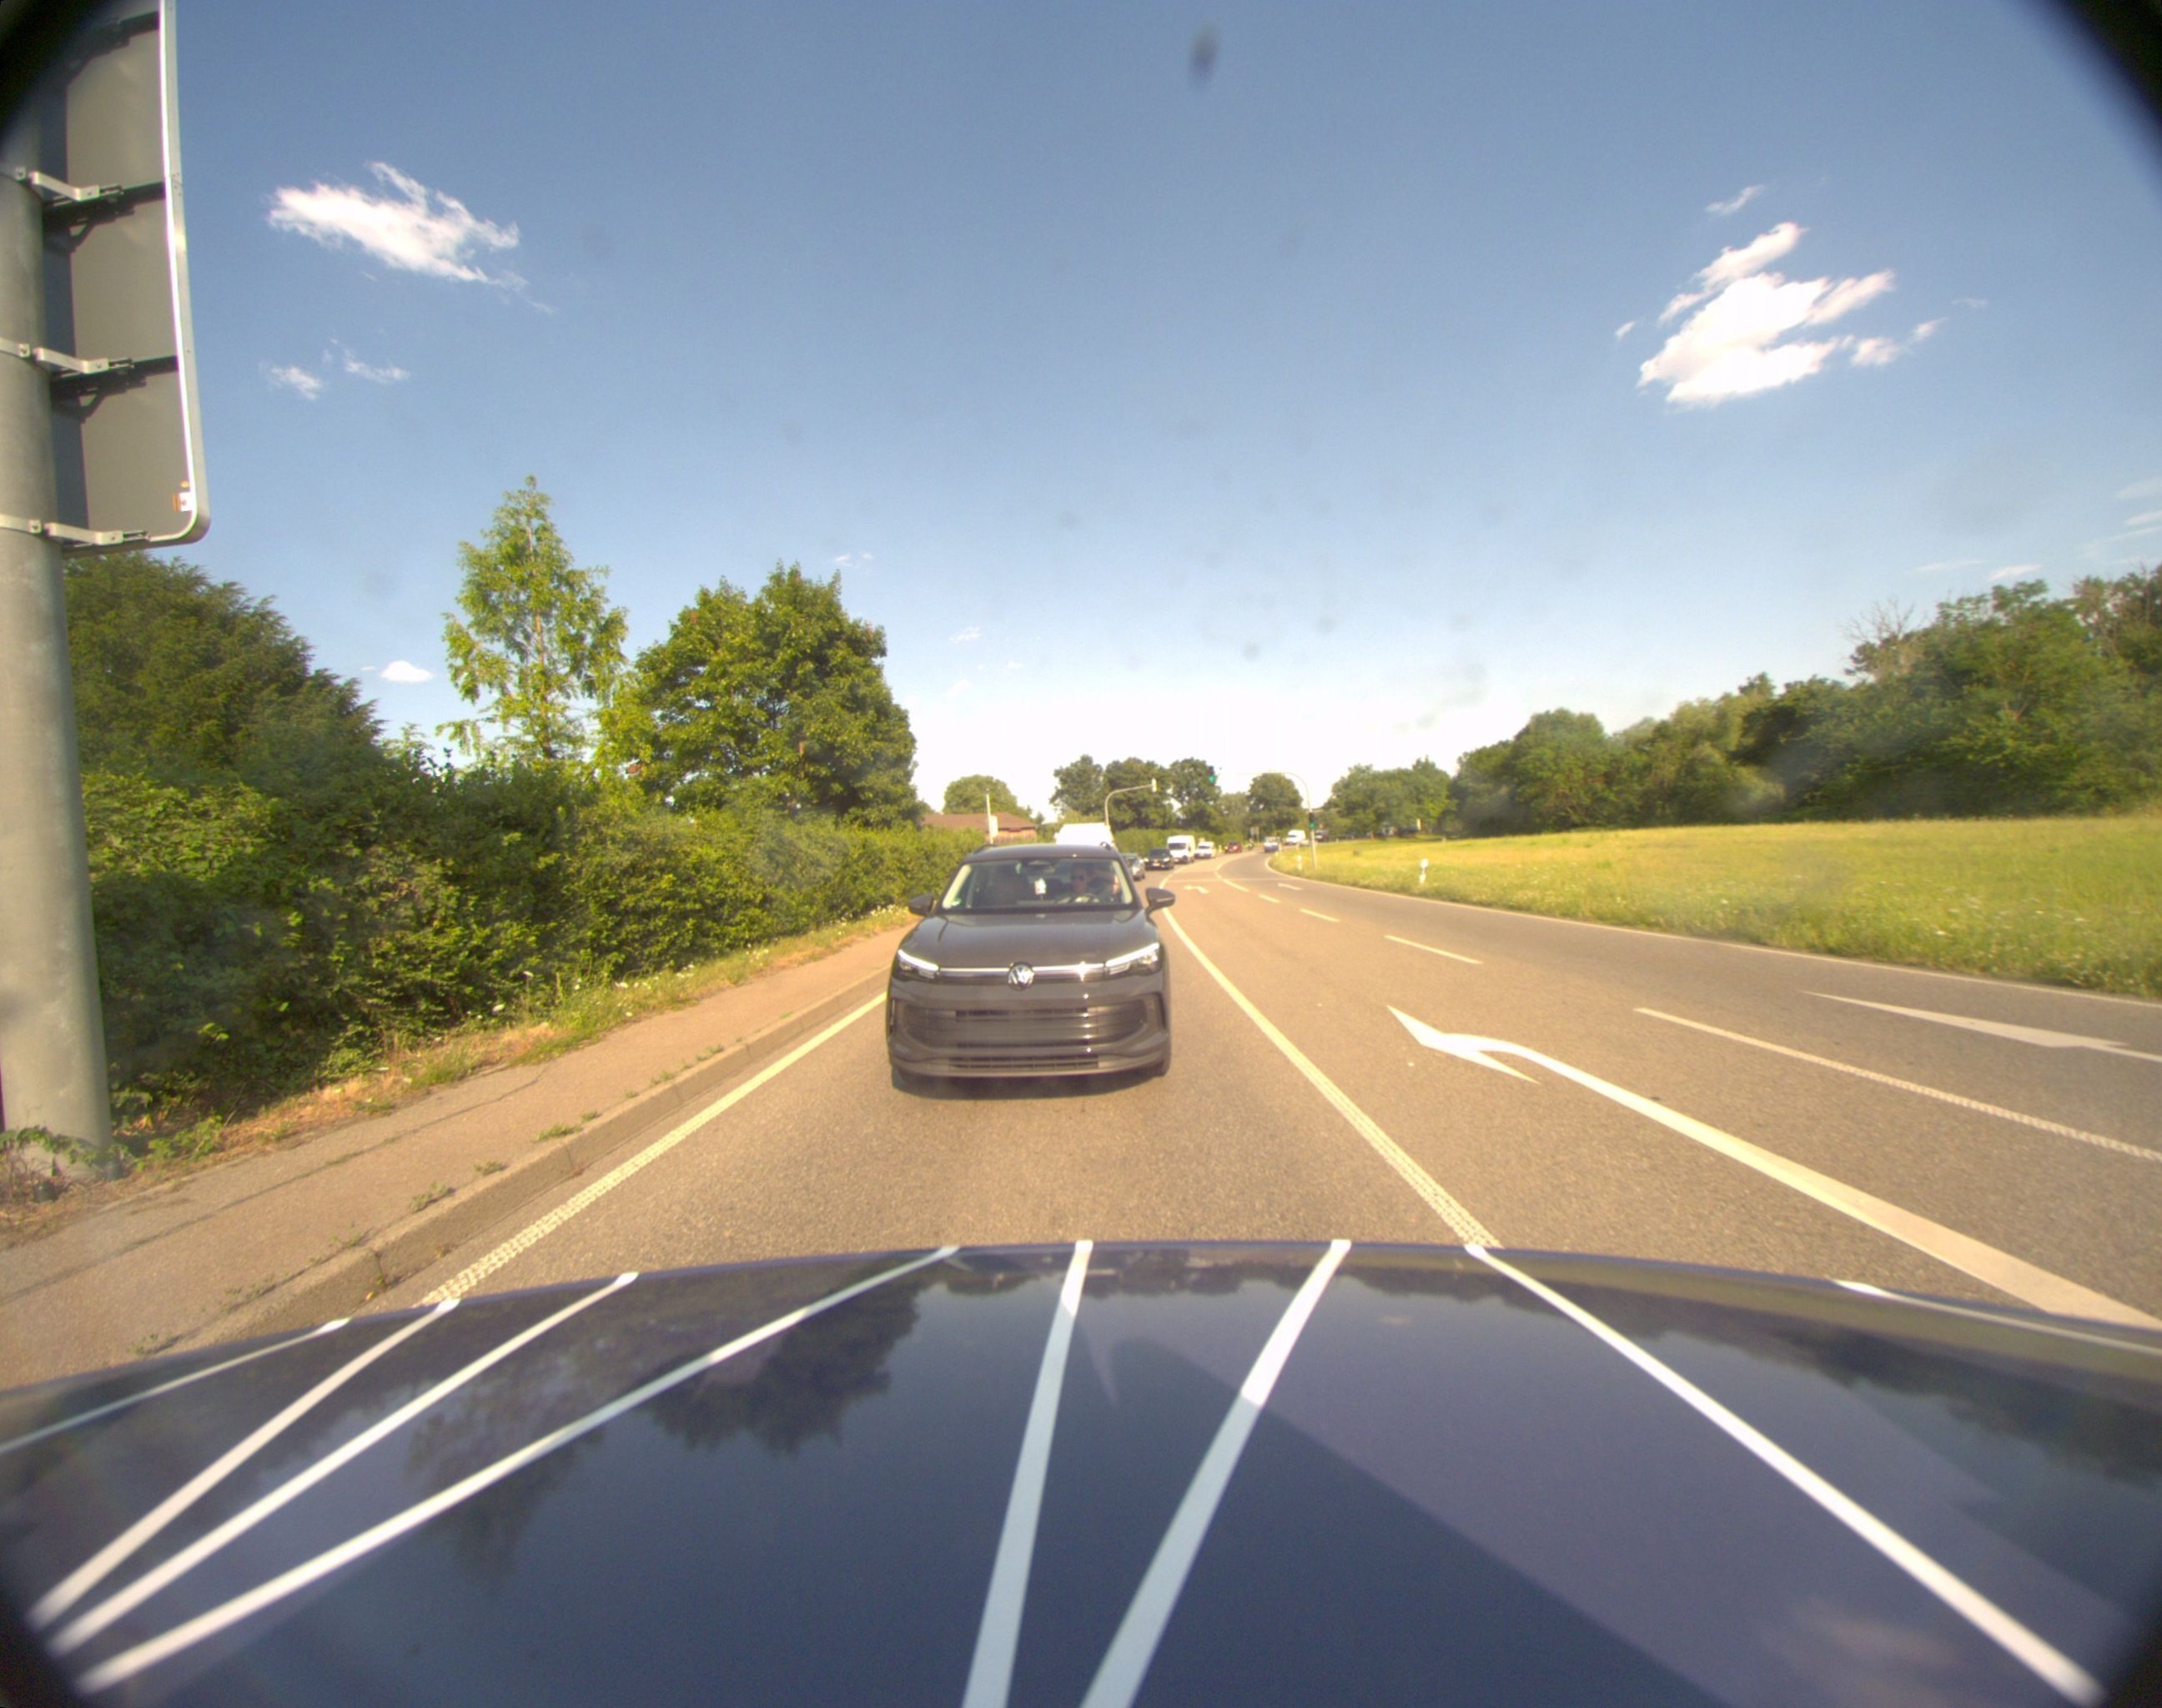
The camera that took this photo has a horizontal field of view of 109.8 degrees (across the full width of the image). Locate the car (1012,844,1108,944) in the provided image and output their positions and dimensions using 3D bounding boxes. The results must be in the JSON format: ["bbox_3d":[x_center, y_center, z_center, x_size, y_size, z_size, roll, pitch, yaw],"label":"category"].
[{"bbox_3d":[-0.303,0.690,15.196,1.659,1.720,3.804,-1,1,2],"label":"car"}]

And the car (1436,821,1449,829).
[{"bbox_3d":[96.527,-7.716,202.801,4.344,1.871,1.725,-1,1,-44],"label":"car"}]

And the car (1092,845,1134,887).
[{"bbox_3d":[1.490,0.481,34.409,1.673,1.718,3.668,0,2,6],"label":"car"}]

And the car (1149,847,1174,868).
[{"bbox_3d":[5.922,0.230,55.595,1.606,1.471,3.619,0,1,10],"label":"car"}]

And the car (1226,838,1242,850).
[{"bbox_3d":[21.656,-1.435,107.381,1.671,1.471,3.498,-4,0,21],"label":"car"}]

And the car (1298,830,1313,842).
[{"bbox_3d":[39.330,-3.172,132.955,1.783,2.002,3.851,-4,1,27],"label":"car"}]

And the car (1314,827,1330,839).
[{"bbox_3d":[51.208,-4.420,161.430,1.995,2.373,4.944,-4,1,29],"label":"car"}]

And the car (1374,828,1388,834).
[{"bbox_3d":[70.665,-5.417,178.858,3.614,1.458,1.586,-1,1,-40],"label":"car"}]

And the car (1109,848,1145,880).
[{"bbox_3d":[2.444,0.492,39.848,1.634,1.549,3.419,-1,0,7],"label":"car"}]

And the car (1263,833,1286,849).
[{"bbox_3d":[26.390,-1.788,103.460,2.000,2.124,4.786,-2,0,25],"label":"car"}]

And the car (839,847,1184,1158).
[{"bbox_3d":[-0.363,0.808,6.195,1.866,1.633,3.999,-1,2,0],"label":"car"}]

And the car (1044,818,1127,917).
[{"bbox_3d":[0.249,0.318,20.697,1.844,2.338,4.791,-1,0,5],"label":"car"}]

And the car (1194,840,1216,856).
[{"bbox_3d":[13.672,-0.673,83.512,1.671,1.471,3.498,-4,0,21],"label":"car"}]

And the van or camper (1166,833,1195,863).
[{"bbox_3d":[9.183,-0.585,69.914,2.032,2.461,5.081,-4,0,13],"label":"van or camper"}]
